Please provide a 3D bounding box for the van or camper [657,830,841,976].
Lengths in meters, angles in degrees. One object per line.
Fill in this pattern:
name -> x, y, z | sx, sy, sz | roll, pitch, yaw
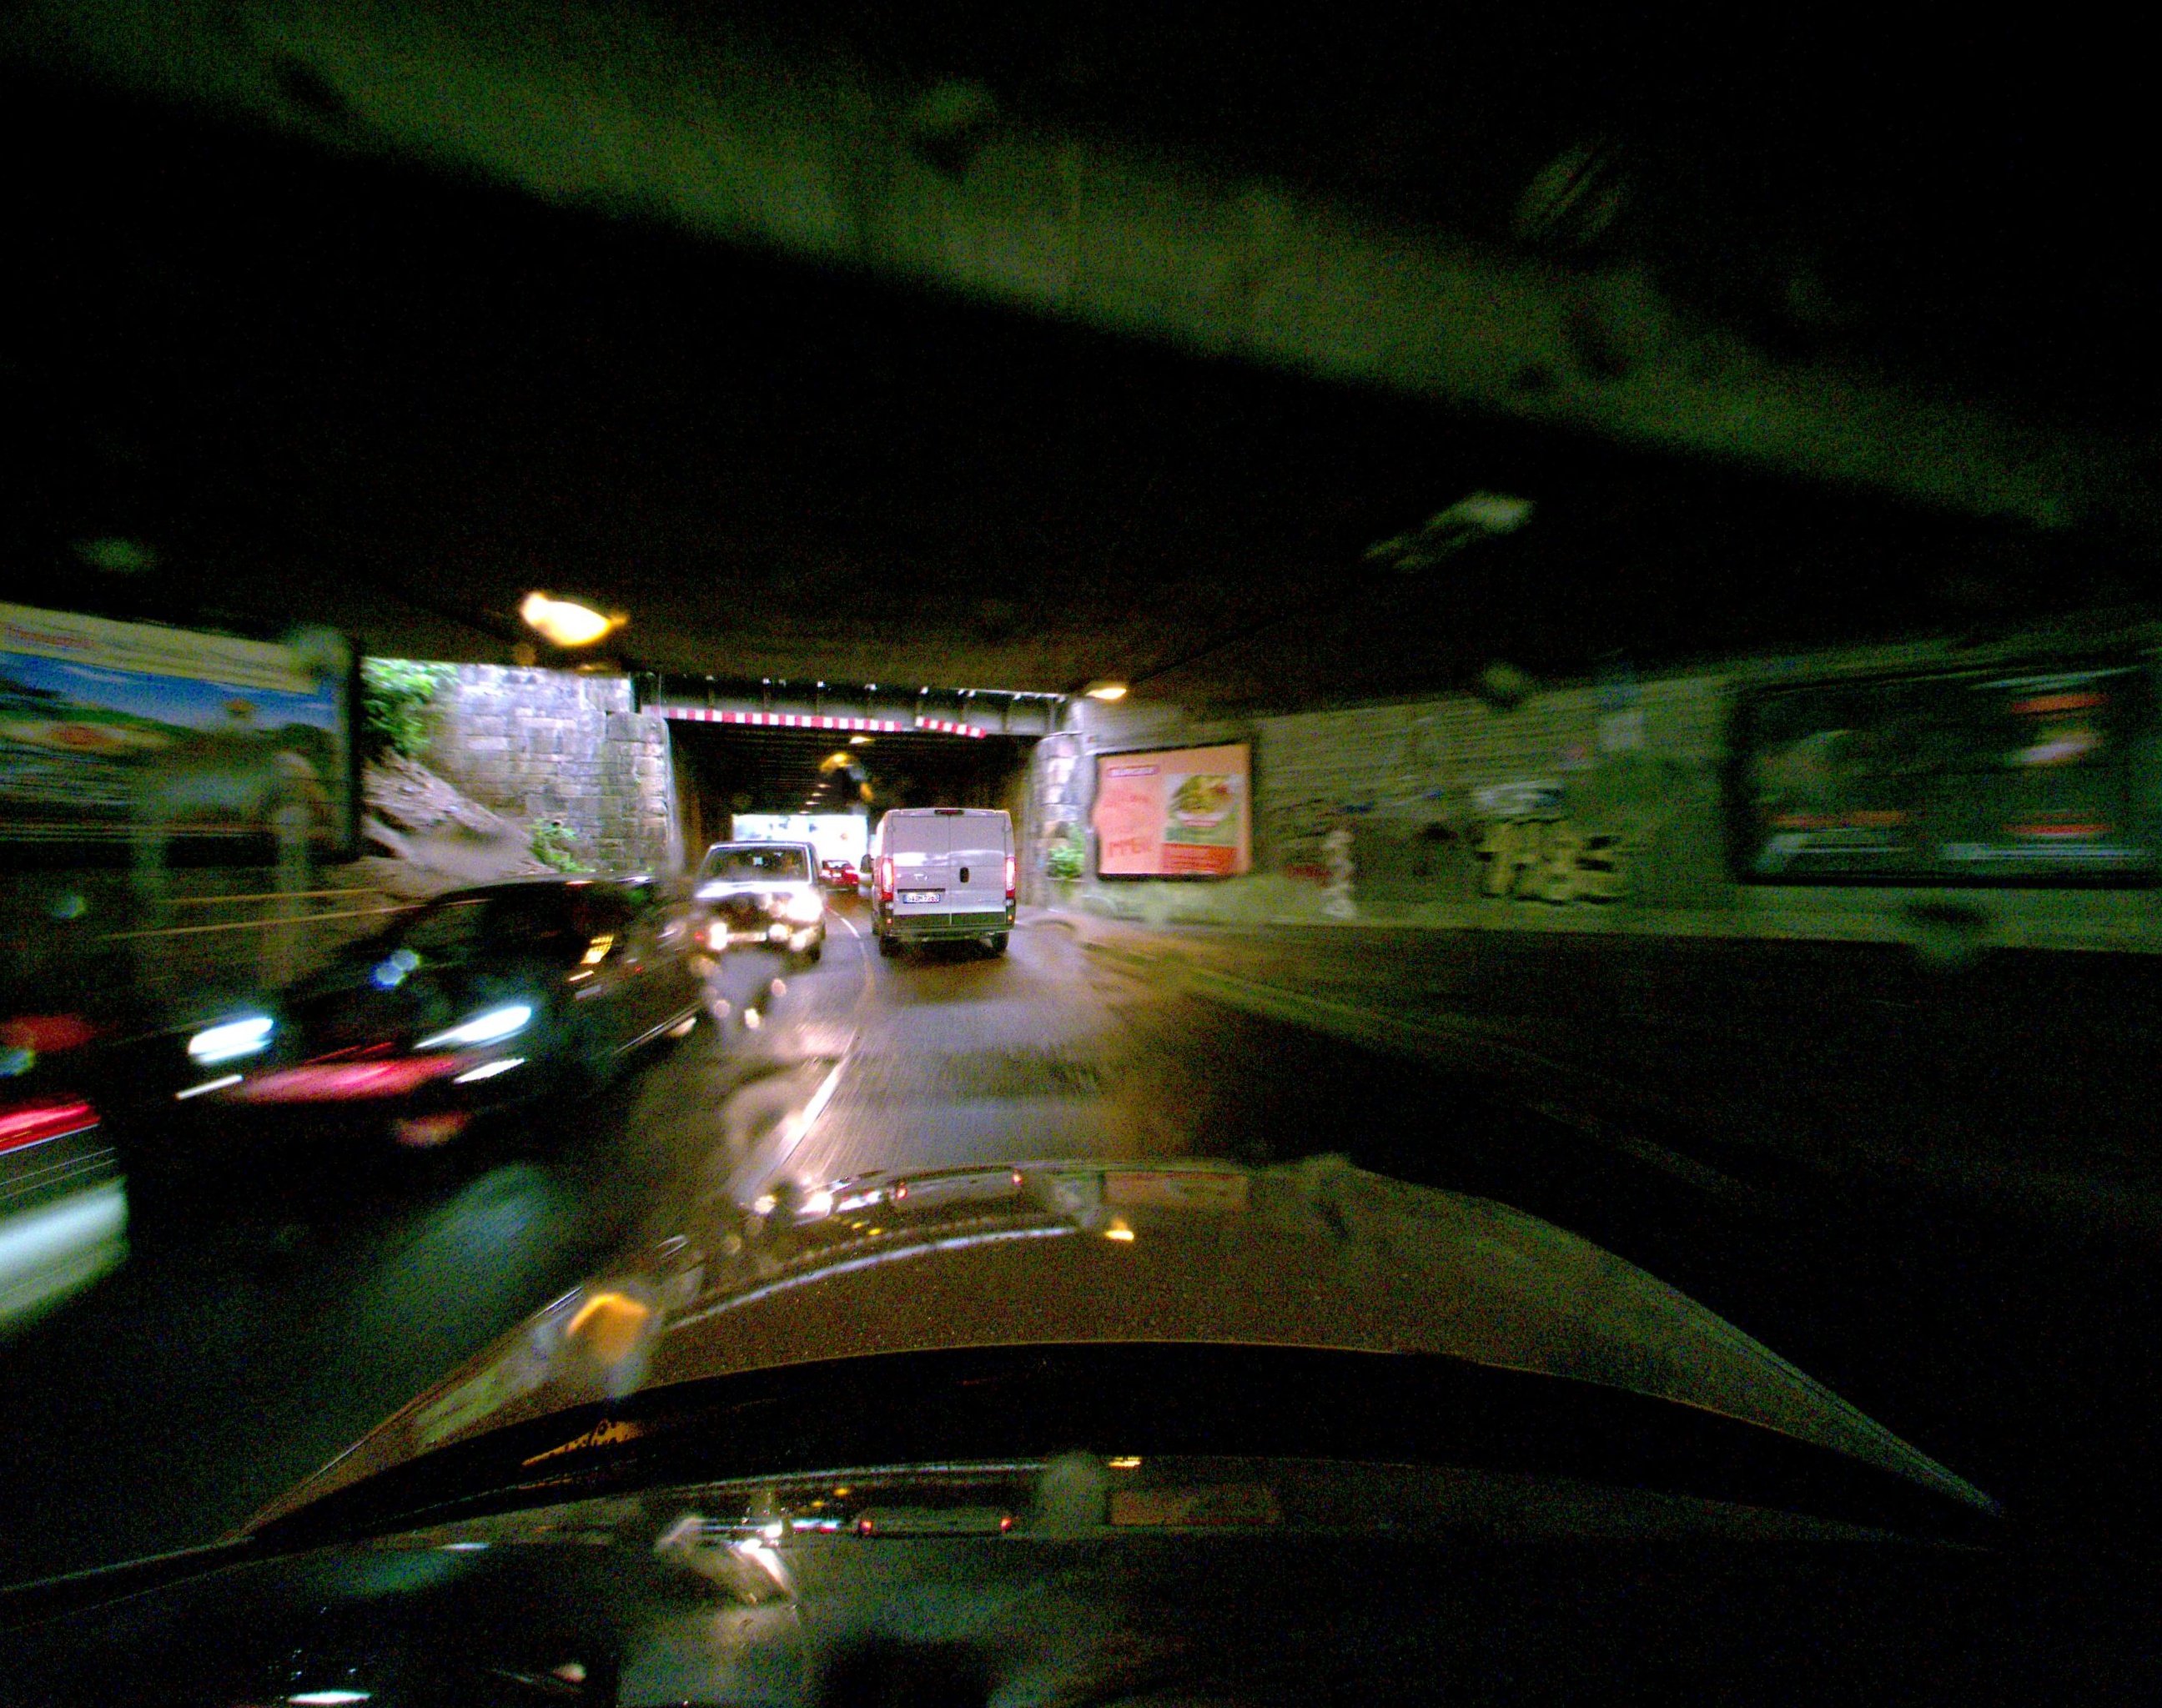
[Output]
van or camper -> -5.170, 0.656, 13.426 | 1.996, 1.868, 5.115 | -2, 0, -14

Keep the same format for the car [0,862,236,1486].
car -> -3.653, 0.817, 0.291 | 1.988, 1.530, 4.498 | -2, 0, -1

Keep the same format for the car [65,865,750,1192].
car -> -4.128, 0.869, 6.094 | 1.992, 1.465, 4.095 | -2, 0, -7

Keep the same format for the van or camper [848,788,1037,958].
van or camper -> -2.638, 0.303, 14.275 | 2.704, 2.417, 4.876 | -1, -1, -16

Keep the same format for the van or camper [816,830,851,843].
van or camper -> -40.163, -2.861, 132.422 | 5.320, 2.013, 2.067 | -1, 1, -16

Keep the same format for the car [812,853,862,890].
car -> -10.491, 0.707, 34.843 | 1.842, 1.438, 4.076 | -2, 0, -19
